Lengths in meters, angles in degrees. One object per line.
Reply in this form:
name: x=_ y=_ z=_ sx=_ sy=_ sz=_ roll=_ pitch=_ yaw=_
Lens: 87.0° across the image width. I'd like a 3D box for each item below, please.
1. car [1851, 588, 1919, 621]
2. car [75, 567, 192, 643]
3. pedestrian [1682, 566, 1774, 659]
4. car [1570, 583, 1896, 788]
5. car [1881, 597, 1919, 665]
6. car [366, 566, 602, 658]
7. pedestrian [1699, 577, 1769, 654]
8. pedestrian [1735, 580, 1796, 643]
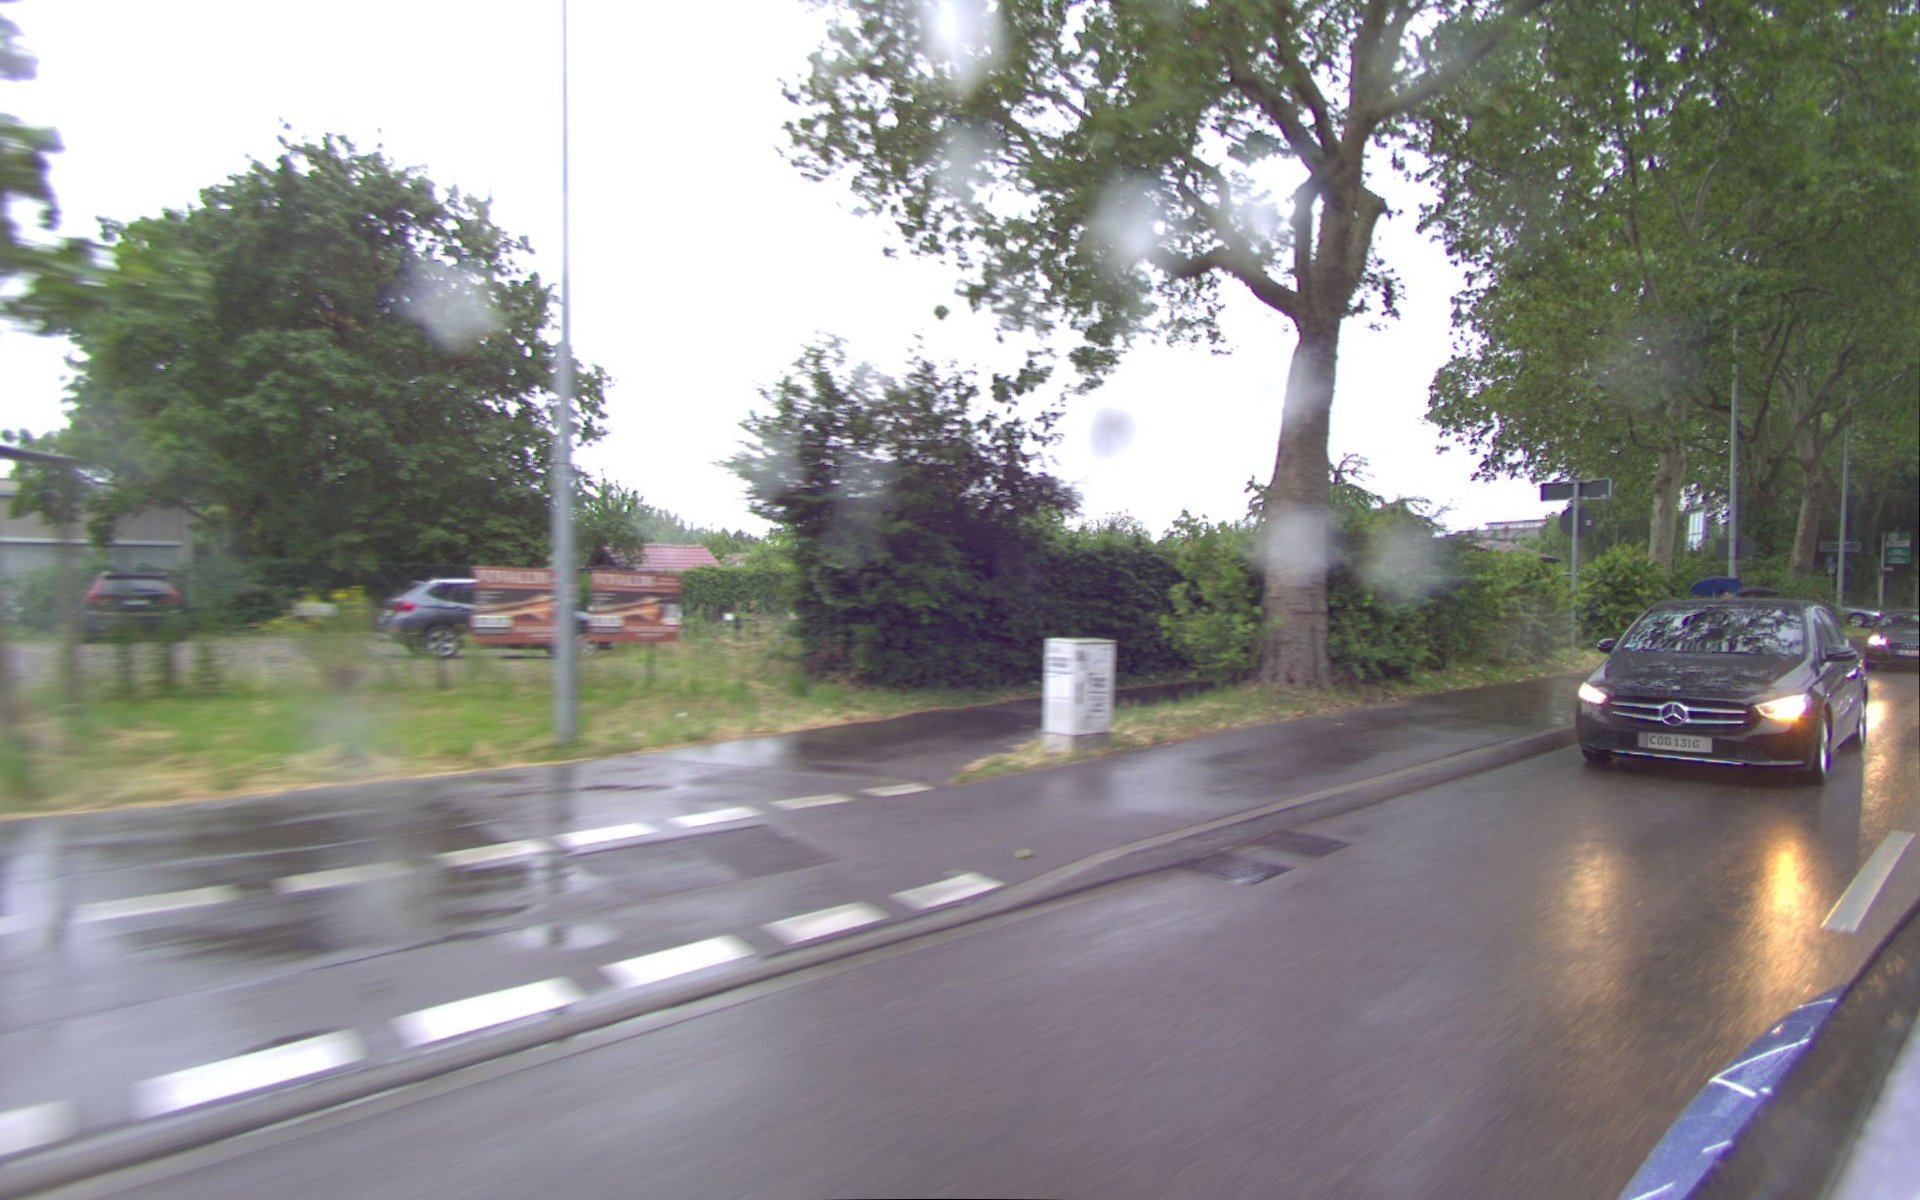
car: x=44.103 y=0.200 z=47.400 sx=1.630 sy=1.516 sz=3.385 roll=2 pitch=0 yaw=-42
car: x=-19.679 y=0.100 z=24.032 sx=1.966 sy=1.638 sz=3.992 roll=-1 pitch=0 yaw=-42
pedestrian: x=15.847 y=0.224 z=20.892 sx=1.127 sy=1.807 sz=1.242 roll=0 pitch=3 yaw=-41
car: x=7.637 y=0.625 z=9.826 sx=4.347 sy=1.549 sz=1.818 roll=-1 pitch=0 yaw=-43
car: x=22.178 y=0.663 z=22.865 sx=3.717 sy=1.402 sz=1.640 roll=-1 pitch=1 yaw=-41
car: x=-9.566 y=0.291 z=20.449 sx=3.926 sy=1.639 sz=1.998 roll=3 pitch=-2 yaw=-38
pedestrian: x=17.020 y=0.320 z=22.256 sx=1.271 sy=1.608 sz=0.949 roll=-1 pitch=2 yaw=-41
pedestrian: x=18.973 y=0.259 z=23.834 sx=0.998 sy=1.407 sz=0.894 roll=0 pitch=3 yaw=-41
